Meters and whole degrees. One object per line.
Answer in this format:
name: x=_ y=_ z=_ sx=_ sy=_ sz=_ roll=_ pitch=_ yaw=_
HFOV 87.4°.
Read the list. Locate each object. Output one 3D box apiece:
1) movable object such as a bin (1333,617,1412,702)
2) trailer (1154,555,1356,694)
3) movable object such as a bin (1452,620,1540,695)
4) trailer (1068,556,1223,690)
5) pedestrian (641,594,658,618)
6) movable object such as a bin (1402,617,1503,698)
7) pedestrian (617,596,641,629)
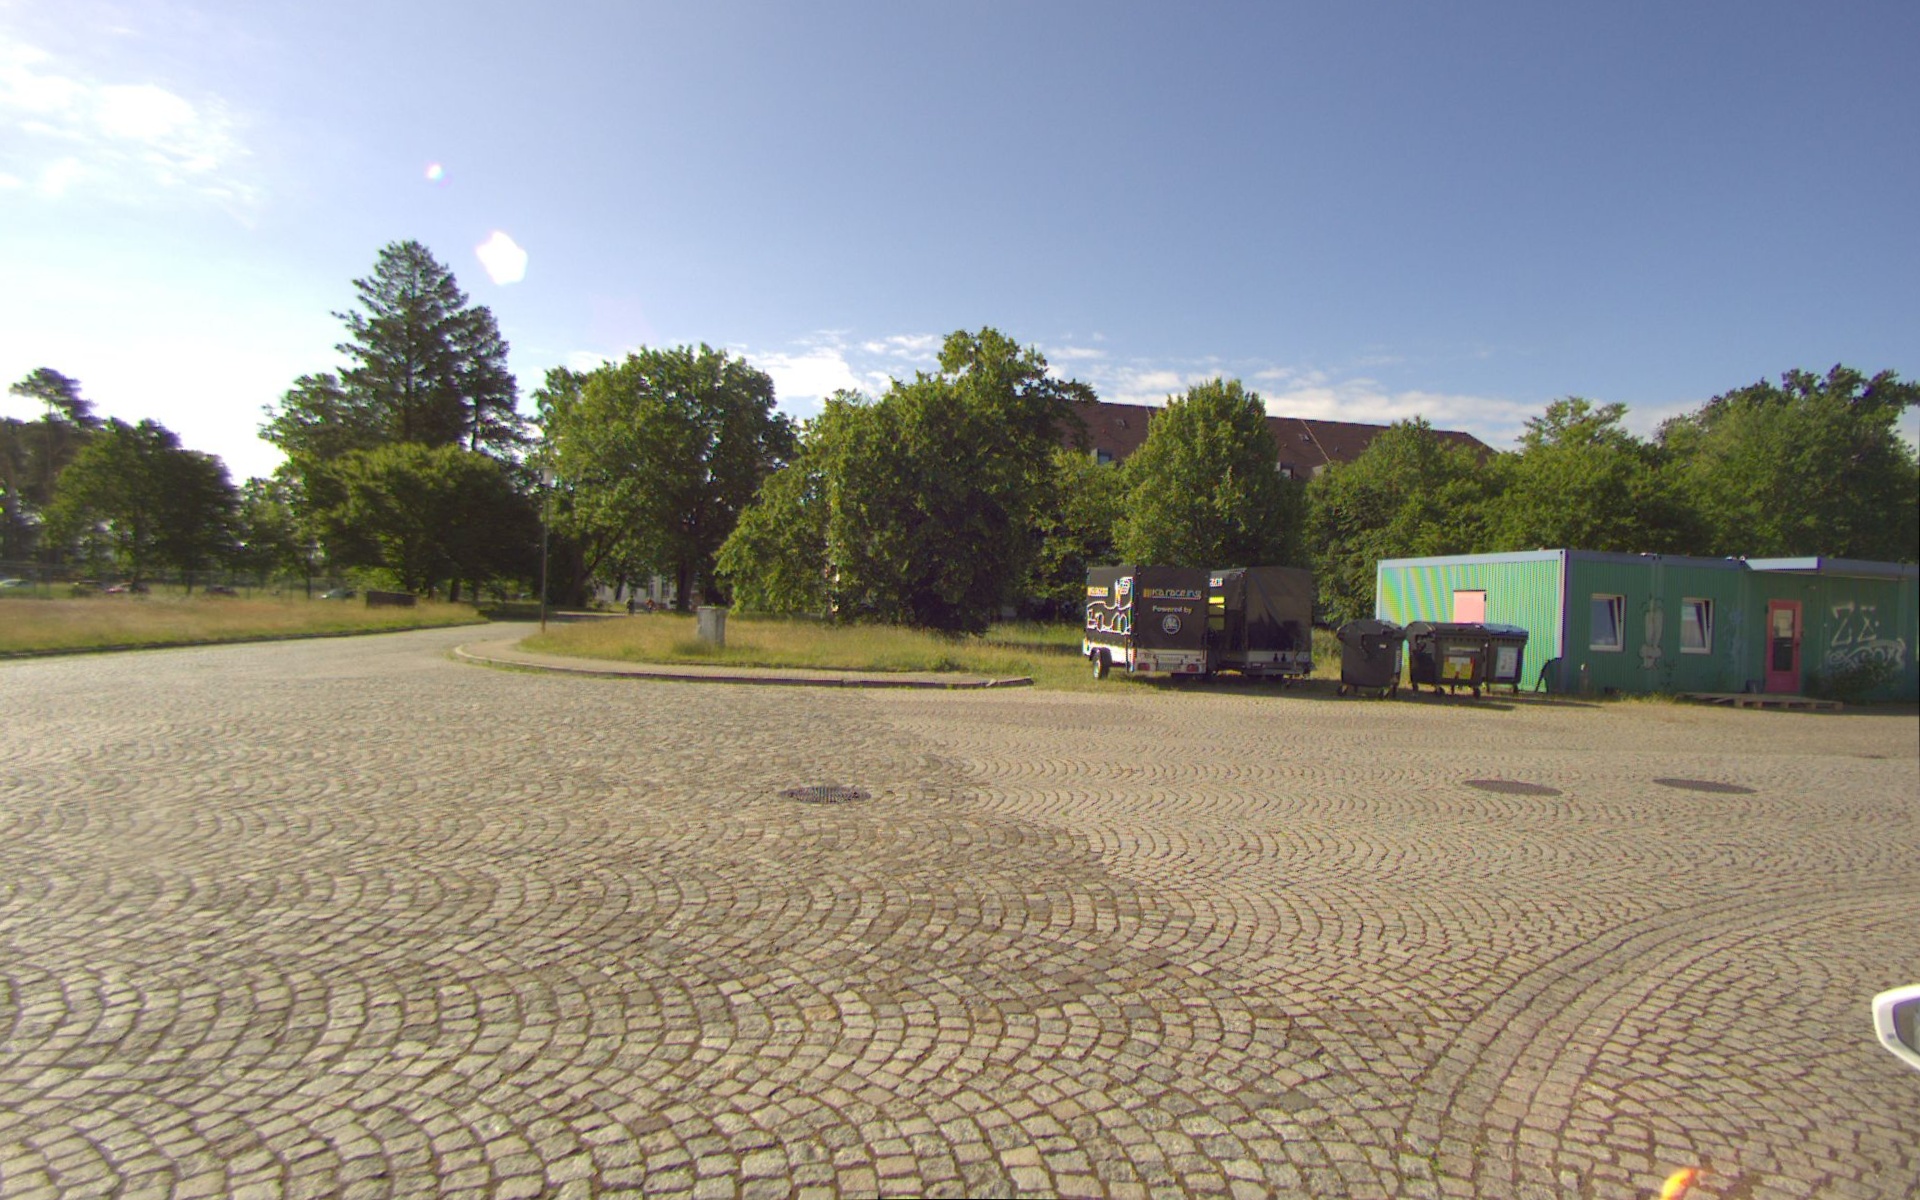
movable object such as a bin: x=7.794 y=1.093 z=18.948 sx=1.135 sy=1.477 sz=1.435 roll=3 pitch=1 yaw=31
trailer: x=6.139 y=0.457 z=21.557 sx=1.919 sy=2.602 sz=4.636 roll=2 pitch=0 yaw=-15
movable object such as a bin: x=11.187 y=1.190 z=20.967 sx=1.420 sy=1.477 sz=0.880 roll=2 pitch=1 yaw=-23
trailer: x=3.781 y=0.438 z=21.069 sx=2.008 sy=2.502 sz=3.389 roll=2 pitch=0 yaw=-11
pedestrian: x=-26.764 y=0.504 z=86.652 sx=1.139 sy=1.954 sz=1.321 roll=2 pitch=1 yaw=-10
movable object such as a bin: x=9.724 y=1.127 z=19.877 sx=1.415 sy=1.477 sz=1.019 roll=2 pitch=0 yaw=-12
pedestrian: x=-20.188 y=0.739 z=61.258 sx=1.139 sy=1.954 sz=1.125 roll=2 pitch=1 yaw=-10
